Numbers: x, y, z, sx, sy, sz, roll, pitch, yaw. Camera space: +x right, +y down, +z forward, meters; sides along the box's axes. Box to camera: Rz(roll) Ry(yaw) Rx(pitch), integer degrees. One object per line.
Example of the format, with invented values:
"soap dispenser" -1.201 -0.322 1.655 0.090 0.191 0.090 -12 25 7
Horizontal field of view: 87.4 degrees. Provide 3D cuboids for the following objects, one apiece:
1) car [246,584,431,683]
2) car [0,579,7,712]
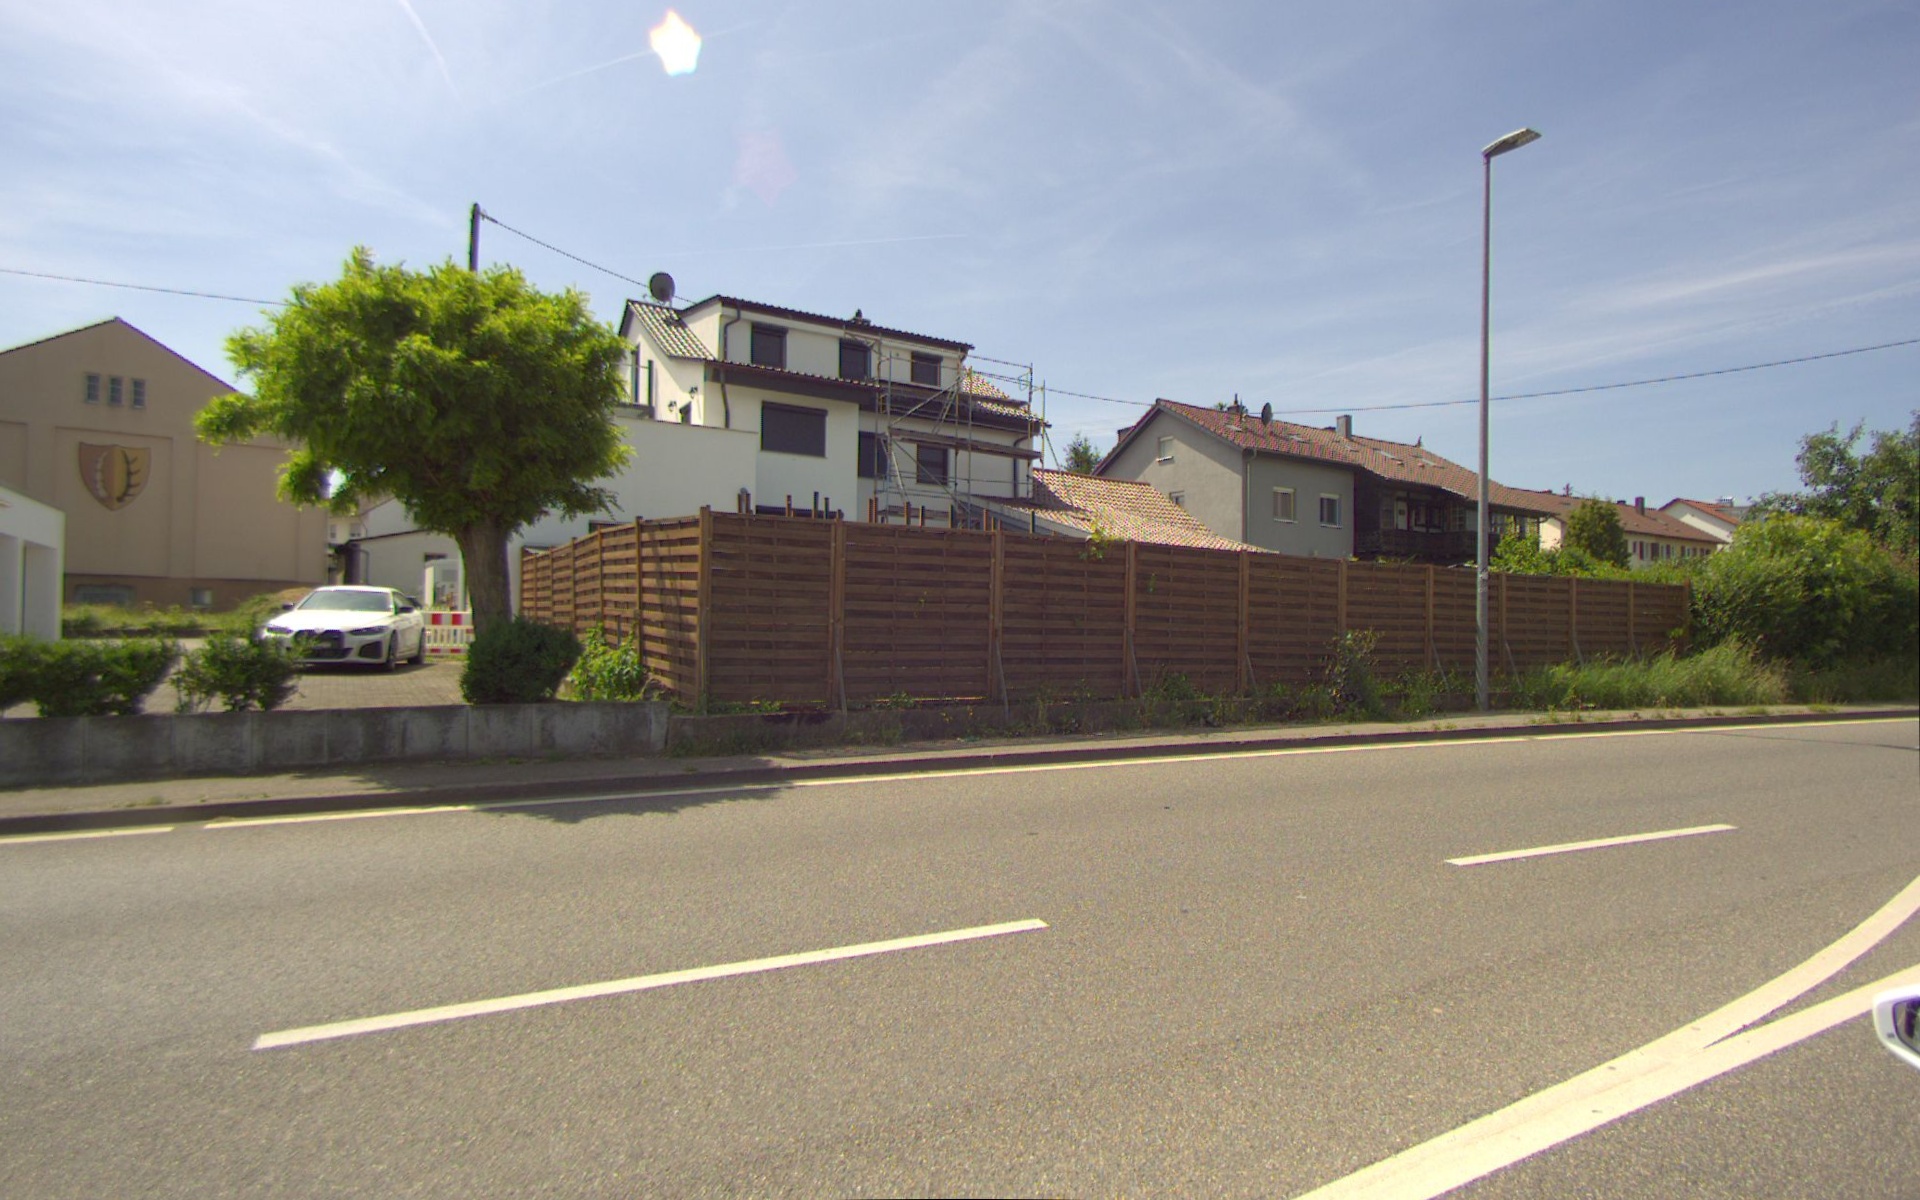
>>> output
"car" -10.812 0.523 17.802 1.805 1.530 3.985 1 0 -17
"car" -11.265 0.464 8.857 1.822 1.467 4.338 2 0 -6
